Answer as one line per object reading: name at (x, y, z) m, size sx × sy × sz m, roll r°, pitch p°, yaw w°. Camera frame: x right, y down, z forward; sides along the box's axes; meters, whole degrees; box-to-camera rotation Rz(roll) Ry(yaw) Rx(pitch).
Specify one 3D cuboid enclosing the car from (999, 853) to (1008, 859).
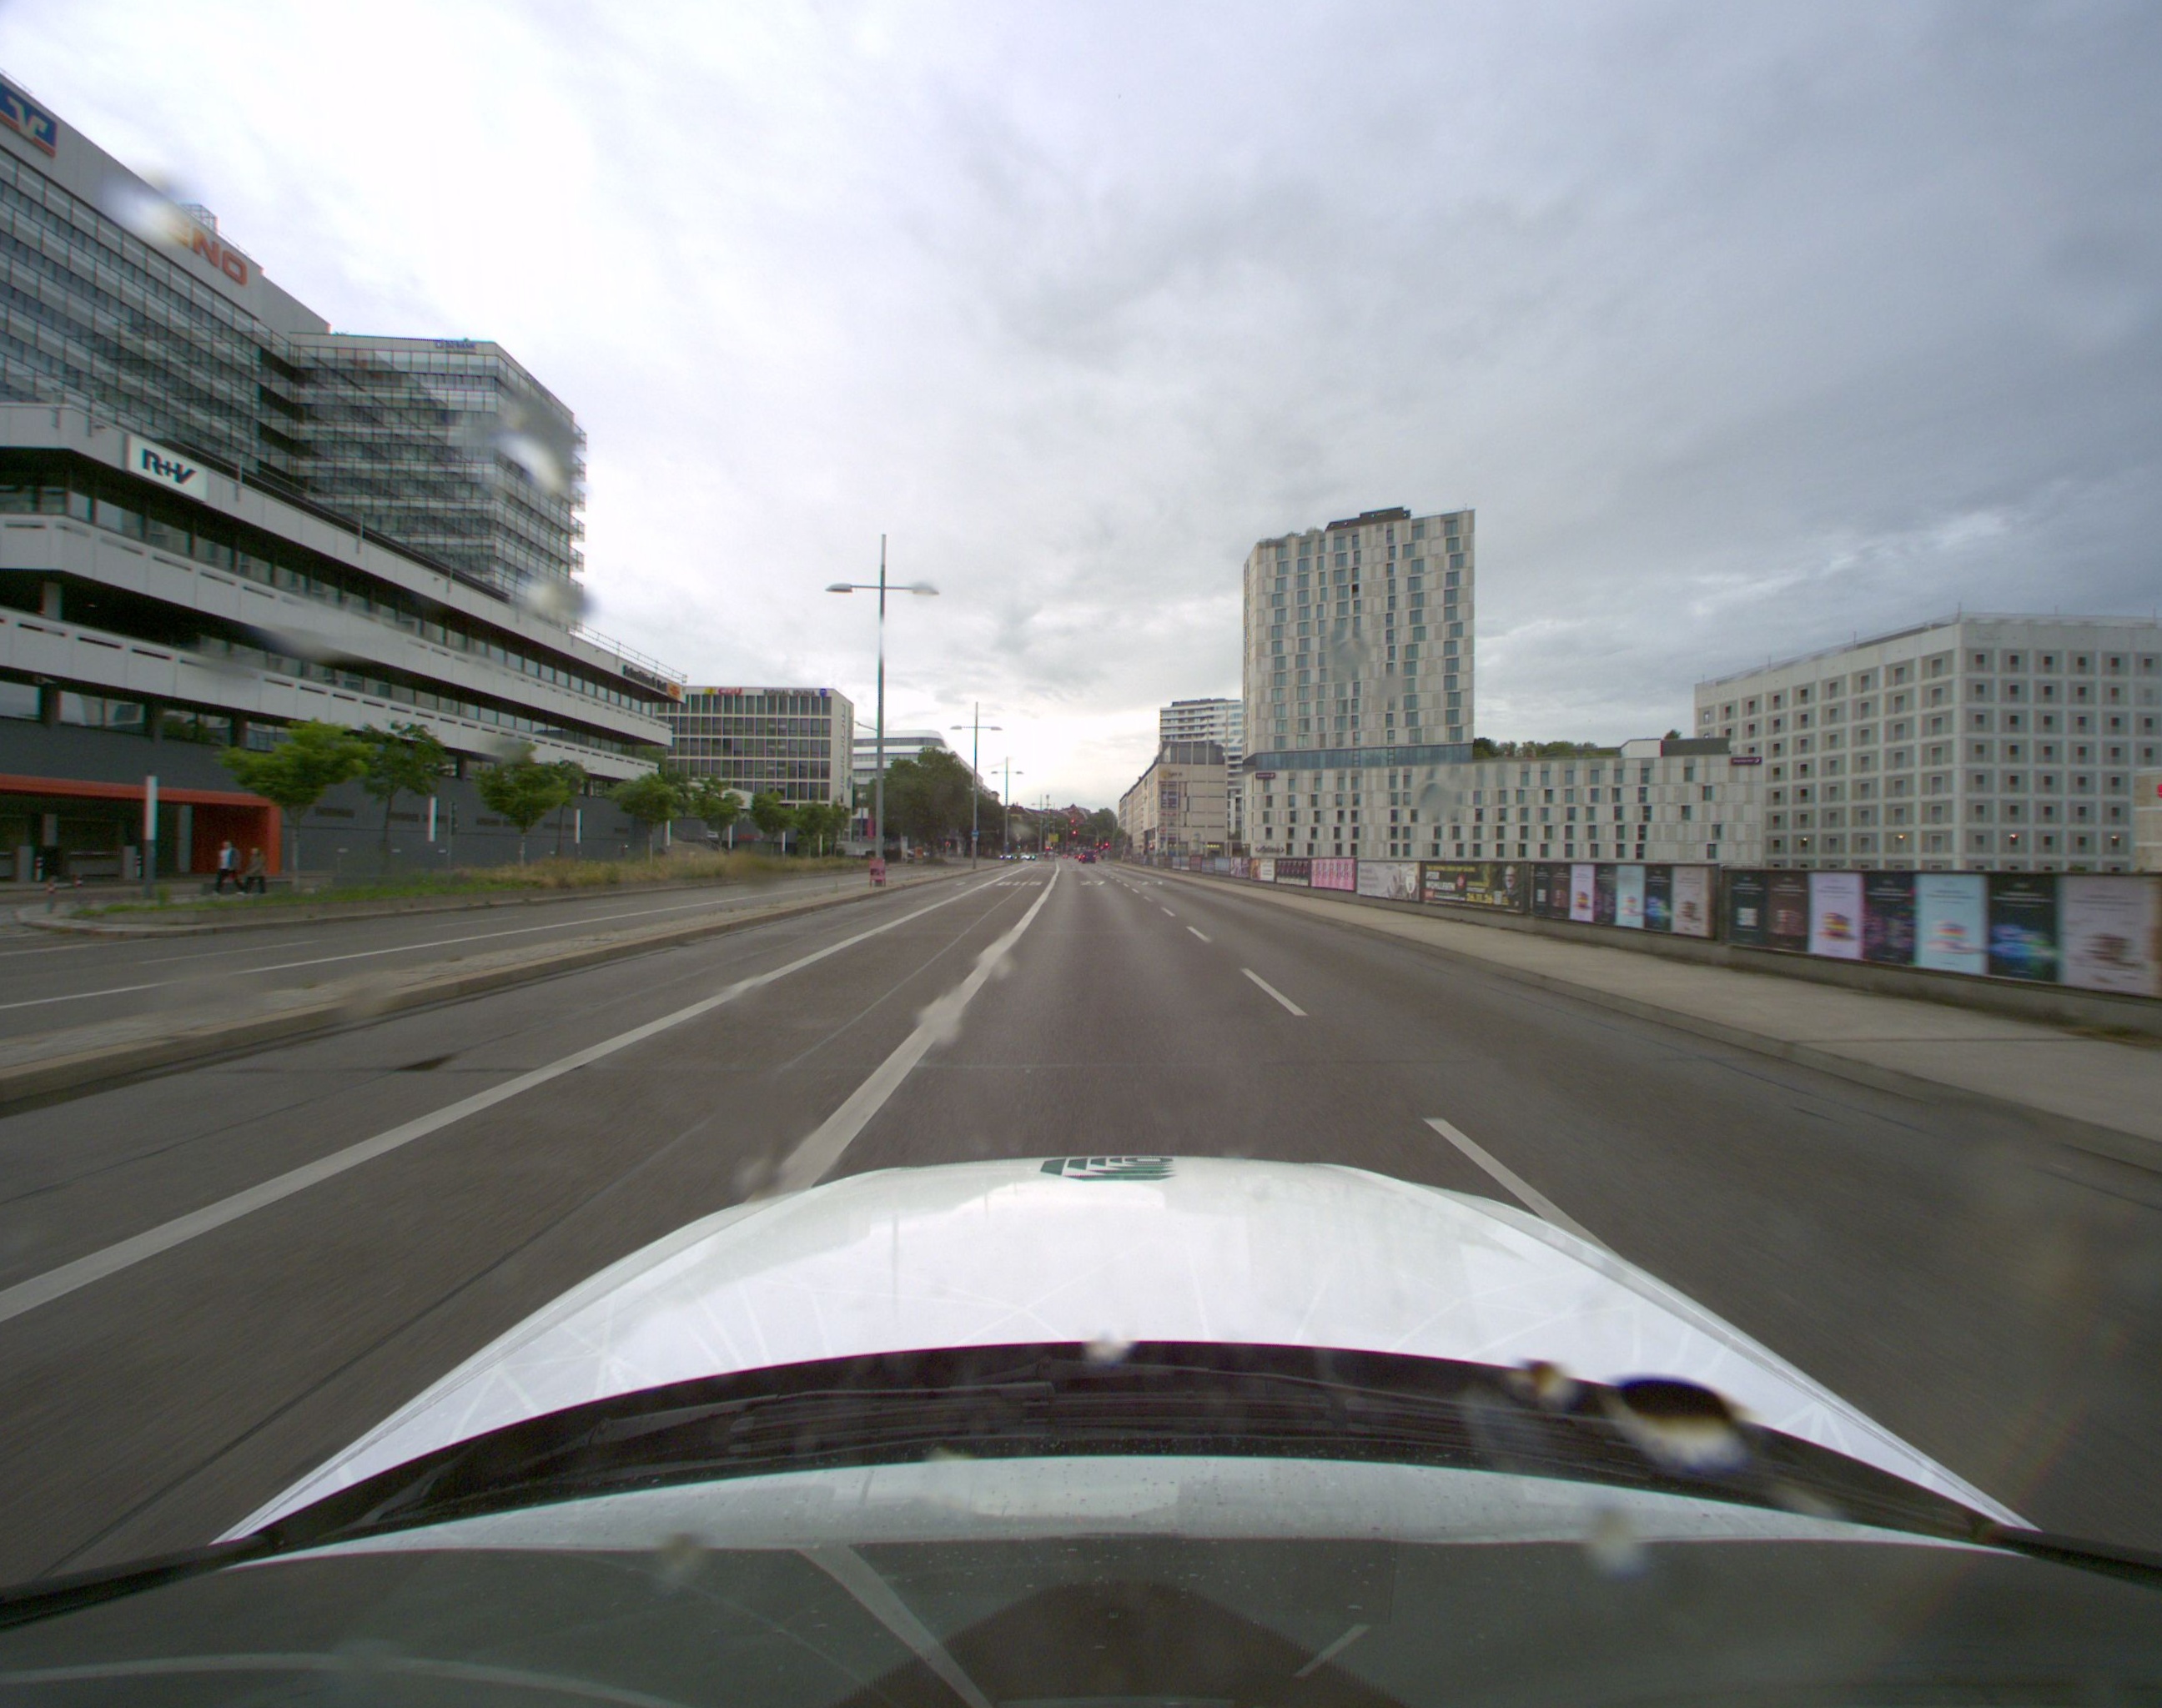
car at (-18.336, 0.565, 192.892) m, size 1.738 × 1.328 × 4.223 m, roll 0°, pitch -1°, yaw -1°

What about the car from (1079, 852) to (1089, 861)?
car at (0.466, 0.413, 146.952) m, size 1.735 × 1.531 × 3.811 m, roll 0°, pitch -1°, yaw -1°

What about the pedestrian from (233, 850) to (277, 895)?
pedestrian at (-27.133, 0.602, 26.767) m, size 0.616 × 1.446 × 0.798 m, roll 0°, pitch -1°, yaw 0°

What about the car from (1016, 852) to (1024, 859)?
car at (-15.025, 0.440, 200.363) m, size 1.738 × 1.559 × 3.537 m, roll 0°, pitch -1°, yaw -1°

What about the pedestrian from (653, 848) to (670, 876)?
pedestrian at (-27.038, 0.526, 52.493) m, size 0.782 × 1.808 × 0.628 m, roll 0°, pitch -1°, yaw -1°

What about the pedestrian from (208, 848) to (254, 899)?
pedestrian at (-27.892, 0.643, 26.736) m, size 0.616 × 1.658 × 0.798 m, roll 0°, pitch -1°, yaw 0°

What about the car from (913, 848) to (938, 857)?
car at (-31.402, -0.283, 164.393) m, size 4.469 × 1.631 × 1.902 m, roll -1°, pitch -1°, yaw 14°

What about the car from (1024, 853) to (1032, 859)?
car at (-12.383, 0.539, 192.050) m, size 1.738 × 1.444 × 3.392 m, roll 0°, pitch -1°, yaw -1°

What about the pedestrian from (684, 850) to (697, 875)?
pedestrian at (-28.530, 0.650, 59.454) m, size 0.628 × 1.808 × 0.628 m, roll 0°, pitch -1°, yaw -1°

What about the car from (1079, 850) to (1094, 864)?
car at (0.859, 0.463, 121.911) m, size 2.027 × 1.882 × 5.040 m, roll -3°, pitch 1°, yaw -1°
